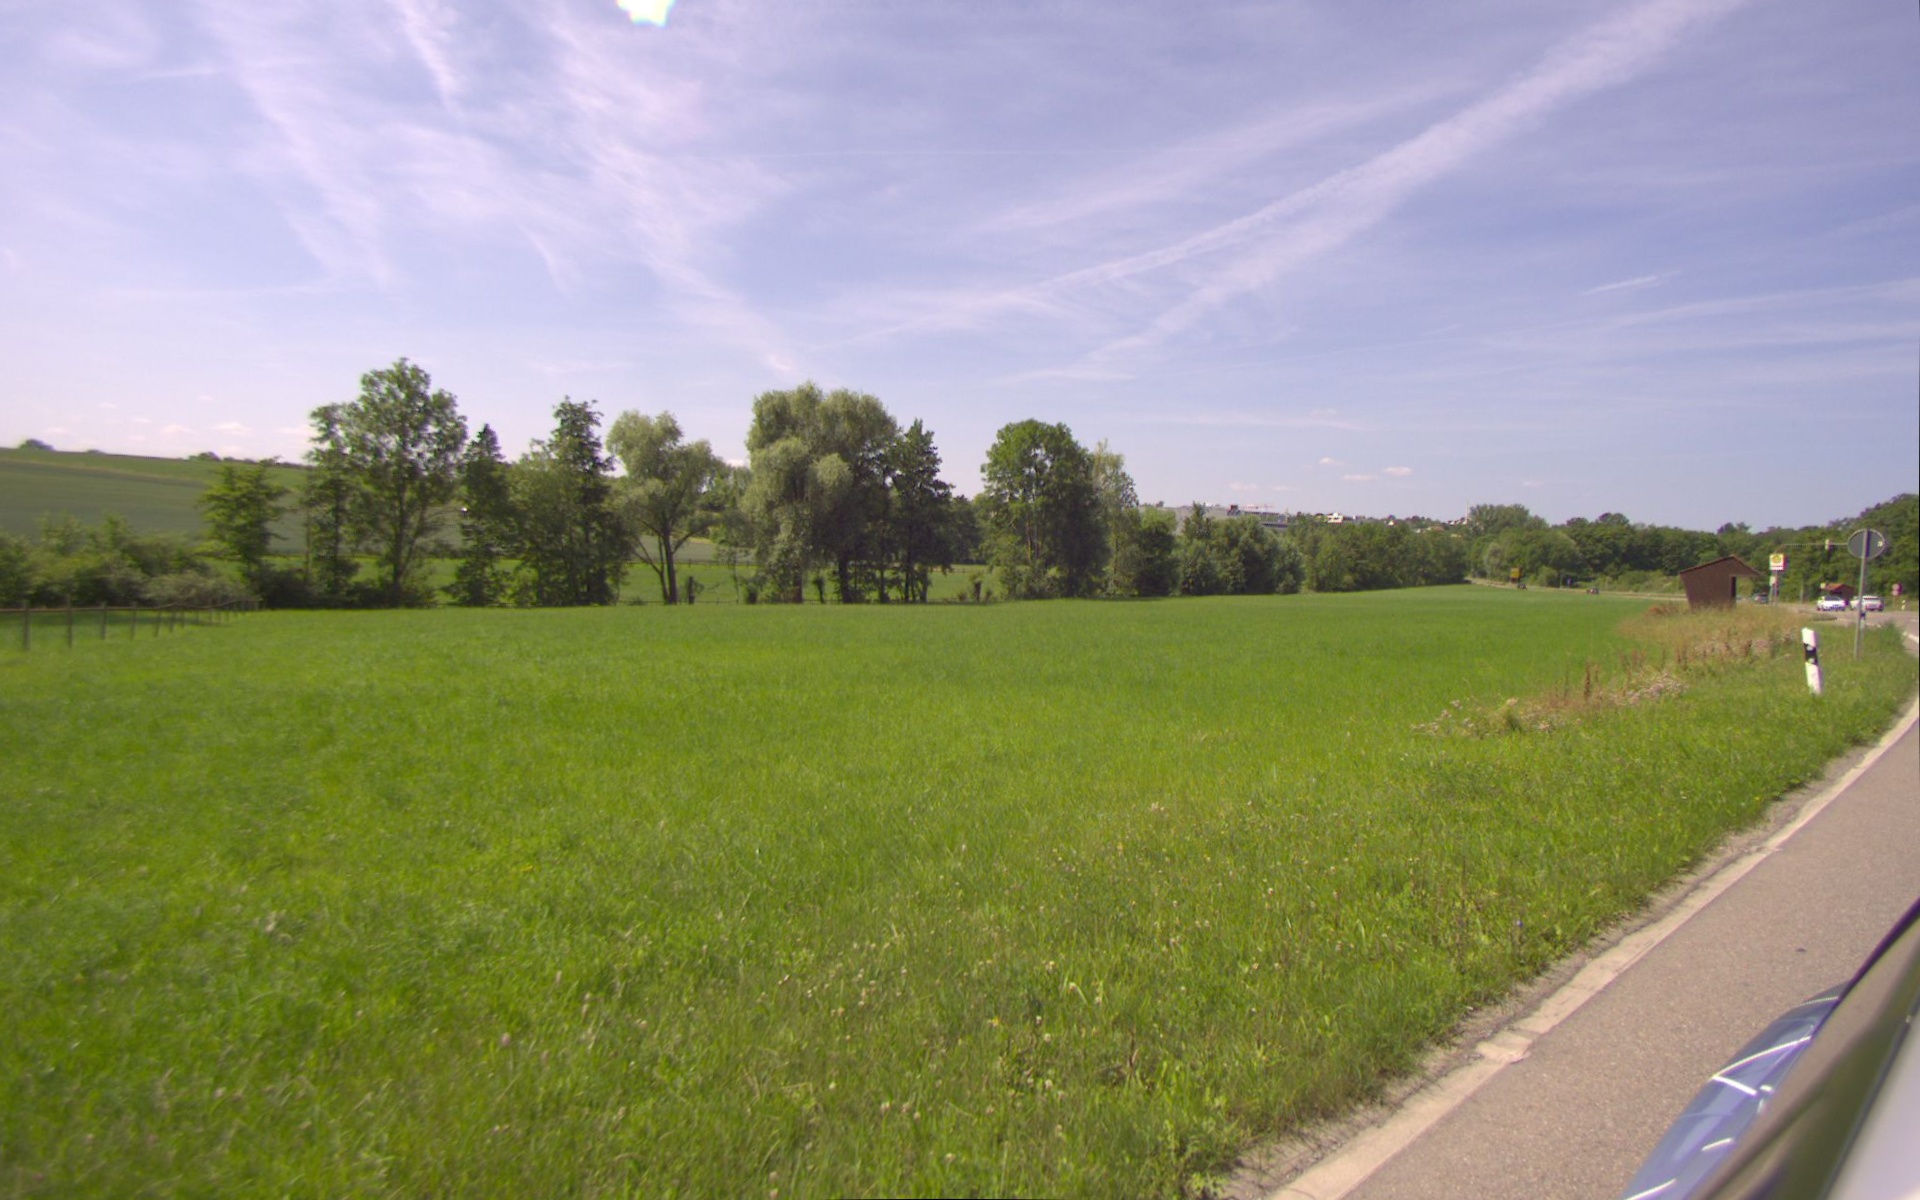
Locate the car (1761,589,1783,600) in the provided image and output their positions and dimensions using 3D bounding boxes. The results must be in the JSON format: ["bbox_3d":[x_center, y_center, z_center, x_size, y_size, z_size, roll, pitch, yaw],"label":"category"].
[{"bbox_3d":[113.328,-0.789,141.325,1.696,1.501,3.795,0,0,28],"label":"car"}]

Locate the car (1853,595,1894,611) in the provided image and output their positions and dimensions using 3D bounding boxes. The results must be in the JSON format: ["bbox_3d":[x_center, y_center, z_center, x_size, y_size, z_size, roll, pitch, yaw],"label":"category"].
[{"bbox_3d":[92.292,0.294,102.286,1.925,1.568,4.584,0,0,27],"label":"car"}]

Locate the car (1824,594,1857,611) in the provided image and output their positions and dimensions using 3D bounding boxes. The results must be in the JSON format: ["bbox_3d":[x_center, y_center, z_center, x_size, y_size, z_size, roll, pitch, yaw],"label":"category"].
[{"bbox_3d":[87.861,0.238,101.017,1.986,1.605,3.951,1,0,34],"label":"car"}]
